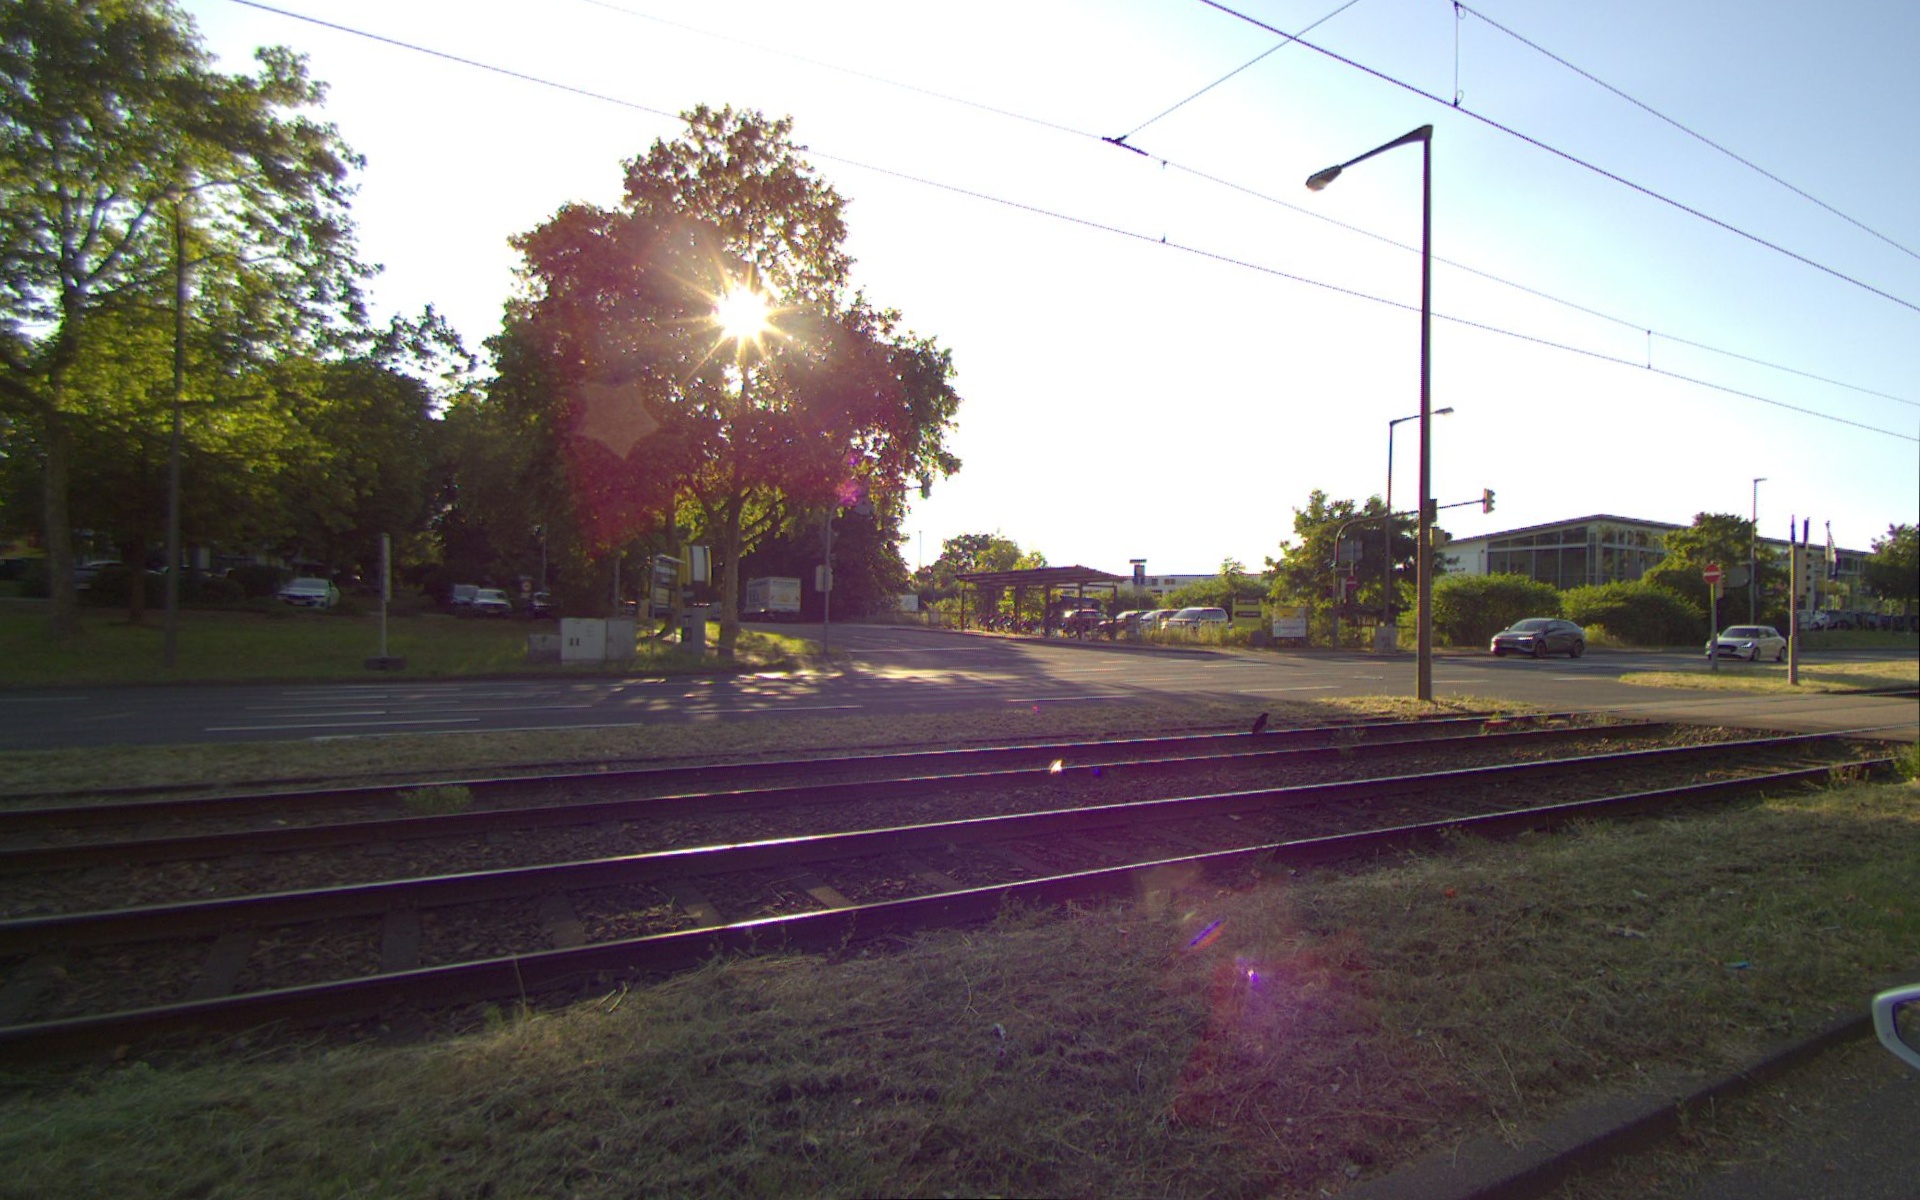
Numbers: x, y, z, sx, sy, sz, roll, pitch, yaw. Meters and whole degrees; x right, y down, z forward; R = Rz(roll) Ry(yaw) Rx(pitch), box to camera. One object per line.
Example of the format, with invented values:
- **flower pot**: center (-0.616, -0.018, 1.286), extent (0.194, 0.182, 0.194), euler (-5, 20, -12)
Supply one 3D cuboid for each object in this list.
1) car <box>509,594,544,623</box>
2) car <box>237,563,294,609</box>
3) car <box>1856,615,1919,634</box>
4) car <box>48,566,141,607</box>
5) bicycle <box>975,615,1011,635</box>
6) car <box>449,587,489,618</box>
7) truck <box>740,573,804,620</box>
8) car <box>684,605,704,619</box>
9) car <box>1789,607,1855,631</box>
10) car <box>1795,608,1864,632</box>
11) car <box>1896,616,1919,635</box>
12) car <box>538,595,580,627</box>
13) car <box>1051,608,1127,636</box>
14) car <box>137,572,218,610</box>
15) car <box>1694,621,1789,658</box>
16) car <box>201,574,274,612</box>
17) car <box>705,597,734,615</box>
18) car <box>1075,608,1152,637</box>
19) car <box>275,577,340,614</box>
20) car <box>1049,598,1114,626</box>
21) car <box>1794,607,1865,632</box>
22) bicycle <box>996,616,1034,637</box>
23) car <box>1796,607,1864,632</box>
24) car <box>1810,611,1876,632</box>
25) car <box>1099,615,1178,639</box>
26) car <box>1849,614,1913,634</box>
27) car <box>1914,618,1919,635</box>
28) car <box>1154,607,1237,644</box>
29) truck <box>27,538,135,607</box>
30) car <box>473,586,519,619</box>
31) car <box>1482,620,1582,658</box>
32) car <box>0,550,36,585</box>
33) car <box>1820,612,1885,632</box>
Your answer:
- **car**: center (-26.203, 0.511, 60.687), extent (1.836, 1.637, 4.036), euler (2, 0, -23)
- **car**: center (-37.296, -0.742, 54.003), extent (2.138, 2.334, 4.369), euler (2, 0, -31)
- **car**: center (81.766, 2.150, 88.511), extent (1.728, 1.576, 3.957), euler (1, 0, -37)
- **car**: center (-36.086, -0.548, 42.016), extent (1.916, 1.530, 4.071), euler (2, 0, -26)
- **bicycle**: center (1.929, 1.454, 59.046), extent (2.004, 1.119, 0.777), euler (2, 0, -30)
- **car**: center (-28.572, 0.134, 58.491), extent (1.836, 1.637, 4.036), euler (2, 0, -23)
- **truck**: center (-15.047, -0.259, 79.786), extent (2.782, 3.520, 8.291), euler (1, 0, -27)
- **car**: center (-33.203, 1.473, 125.402), extent (1.887, 1.602, 4.036), euler (2, 0, -21)
- **car**: center (69.326, 1.506, 80.828), extent (3.940, 1.840, 1.735), euler (1, 0, 40)
- **car**: center (66.726, 1.490, 77.171), extent (3.940, 1.727, 1.735), euler (1, 0, 40)
- **car**: center (88.382, 2.383, 91.743), extent (1.725, 1.642, 3.962), euler (1, 0, -34)
- **car**: center (-20.438, 0.528, 51.134), extent (1.604, 1.477, 3.878), euler (2, 0, -27)
- **car**: center (7.717, 1.292, 59.991), extent (4.123, 1.604, 1.968), euler (1, 0, -30)
- **car**: center (-33.954, -0.386, 43.680), extent (1.916, 1.530, 4.071), euler (2, 0, -26)
- **car**: center (33.980, 1.682, 43.656), extent (4.042, 1.501, 1.853), euler (1, 0, -30)
- **car**: center (-32.112, -0.313, 44.752), extent (1.916, 1.530, 4.071), euler (2, 0, -26)
- **car**: center (-22.756, 0.540, 94.981), extent (1.711, 1.603, 4.028), euler (1, 0, -27)
- **car**: center (8.822, 1.285, 57.797), extent (4.123, 1.604, 1.853), euler (1, 0, -30)
- **car**: center (-29.431, -0.212, 45.434), extent (1.916, 1.530, 4.071), euler (2, 0, -26)
- **car**: center (9.288, 0.937, 76.662), extent (4.715, 2.041, 1.853), euler (1, 0, -30)
- **car**: center (65.180, 1.440, 75.371), extent (3.940, 1.727, 1.735), euler (1, 0, 40)
- **bicycle**: center (3.070, 1.476, 56.410), extent (2.004, 1.119, 0.777), euler (2, 0, -30)
- **car**: center (68.364, 1.488, 78.983), extent (3.940, 1.840, 1.735), euler (1, 0, 40)
- **car**: center (71.989, 1.745, 81.944), extent (3.940, 1.577, 1.735), euler (1, 0, 40)
- **car**: center (9.941, 1.488, 55.866), extent (4.123, 1.284, 1.853), euler (1, 0, -30)
- **car**: center (79.614, 2.062, 86.893), extent (3.940, 1.577, 1.735), euler (1, 0, 40)
- **car**: center (91.298, 2.499, 93.023), extent (1.725, 1.642, 3.962), euler (1, 0, -34)
- **car**: center (12.364, 1.327, 52.734), extent (4.123, 1.846, 1.853), euler (1, 0, -30)
- **truck**: center (-44.512, -1.332, 51.060), extent (2.468, 3.209, 6.187), euler (2, 0, -26)
- **car**: center (-22.933, 0.117, 49.585), extent (1.916, 1.530, 4.071), euler (2, 0, -26)
- **car**: center (24.672, 1.661, 43.283), extent (4.120, 1.501, 1.854), euler (1, 0, -29)
- **car**: center (-53.859, -1.872, 56.377), extent (2.274, 1.875, 5.220), euler (2, 0, -36)
- **car**: center (74.209, 1.840, 83.612), extent (3.940, 1.577, 1.735), euler (1, 0, 40)
